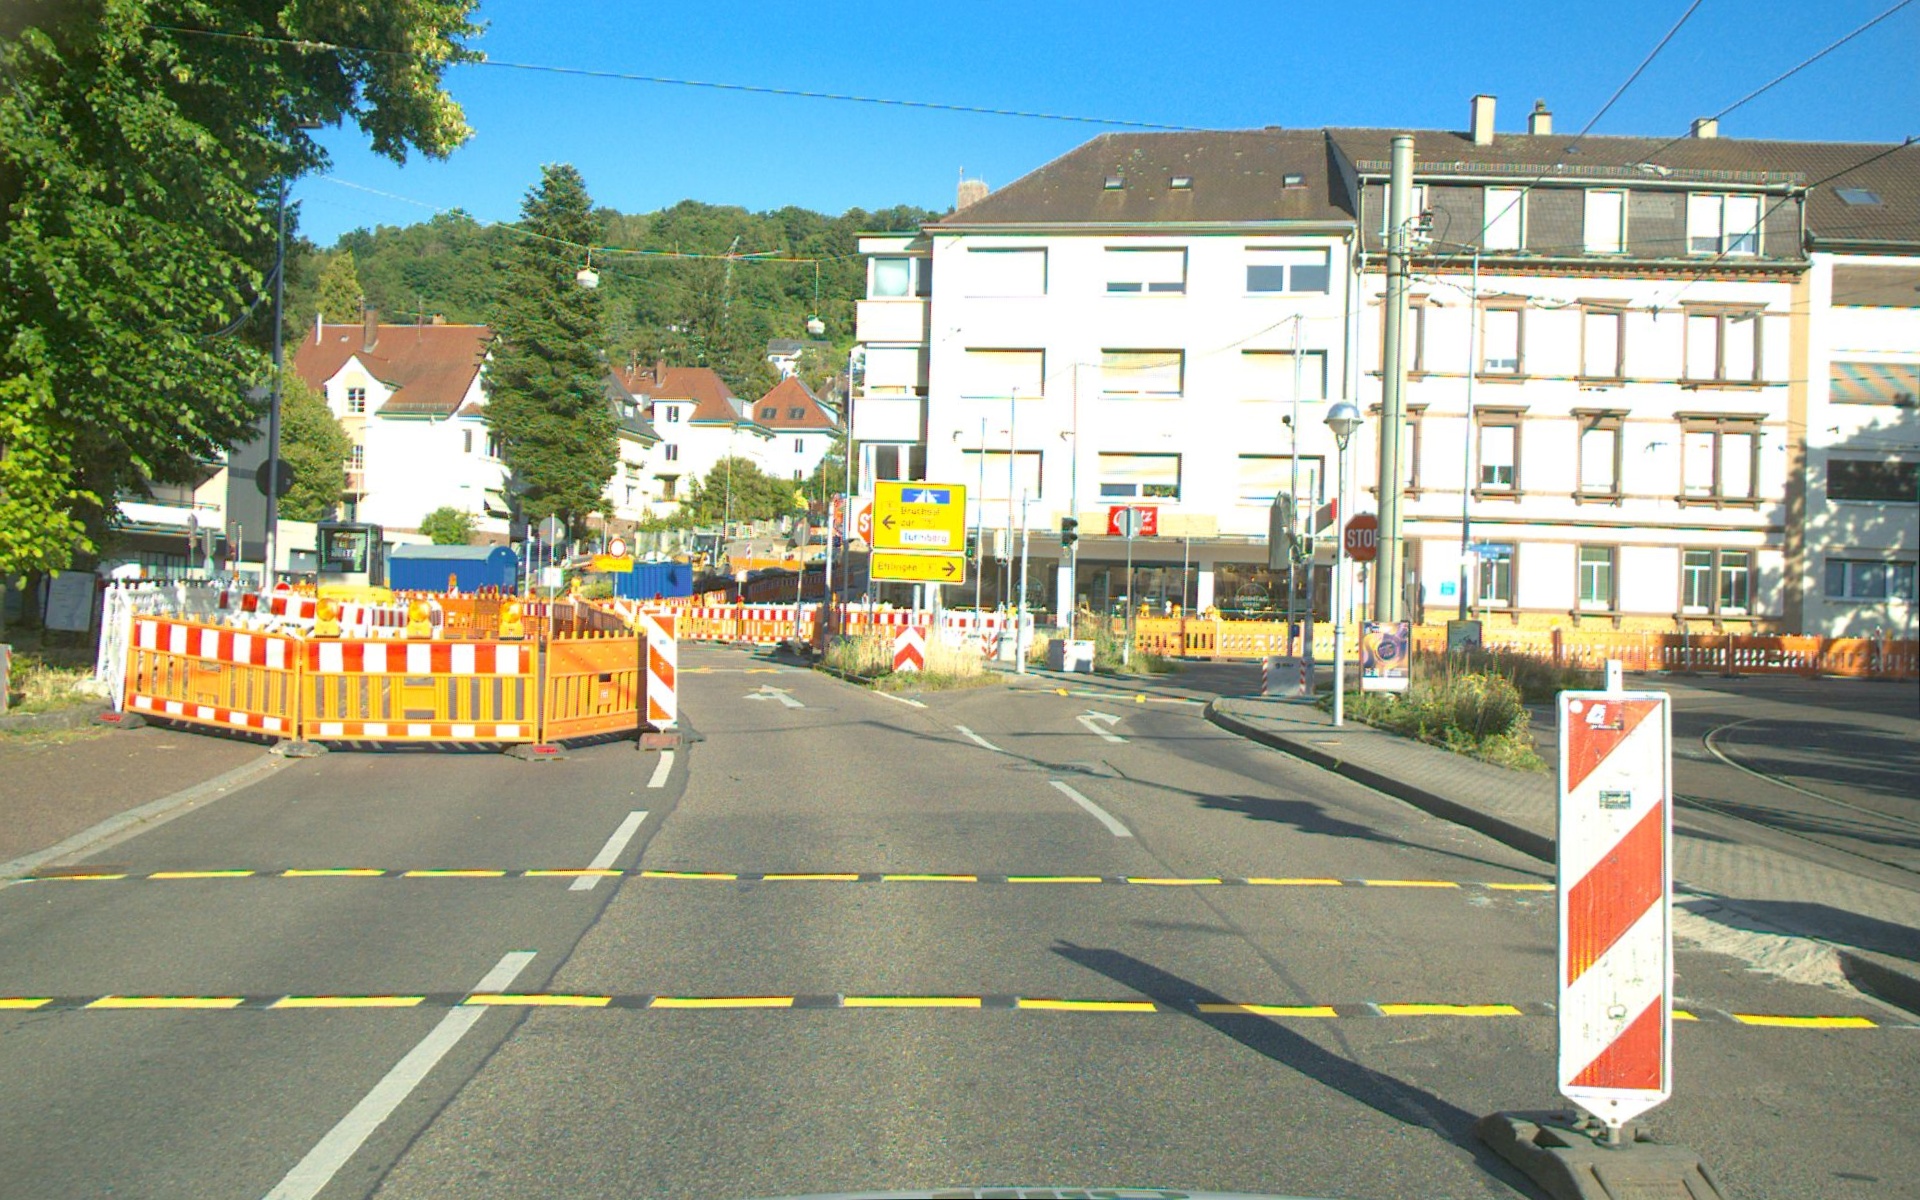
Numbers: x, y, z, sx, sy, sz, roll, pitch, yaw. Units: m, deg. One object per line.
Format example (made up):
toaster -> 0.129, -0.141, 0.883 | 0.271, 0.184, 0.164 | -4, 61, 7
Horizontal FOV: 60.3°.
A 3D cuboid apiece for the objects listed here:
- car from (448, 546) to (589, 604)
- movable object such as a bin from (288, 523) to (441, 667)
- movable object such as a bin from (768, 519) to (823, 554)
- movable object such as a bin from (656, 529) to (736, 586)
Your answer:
car -> -17.488, -0.947, 65.881 | 2.529, 2.158, 6.154 | 1, 0, 17
movable object such as a bin -> -10.466, -0.097, 29.340 | 1.615, 2.365, 3.916 | 1, 0, -6
movable object such as a bin -> -11.370, -4.398, 114.742 | 2.510, 2.159, 5.789 | 1, 0, 8
movable object such as a bin -> -12.530, -2.009, 78.792 | 1.907, 2.538, 4.554 | 1, 0, 17
